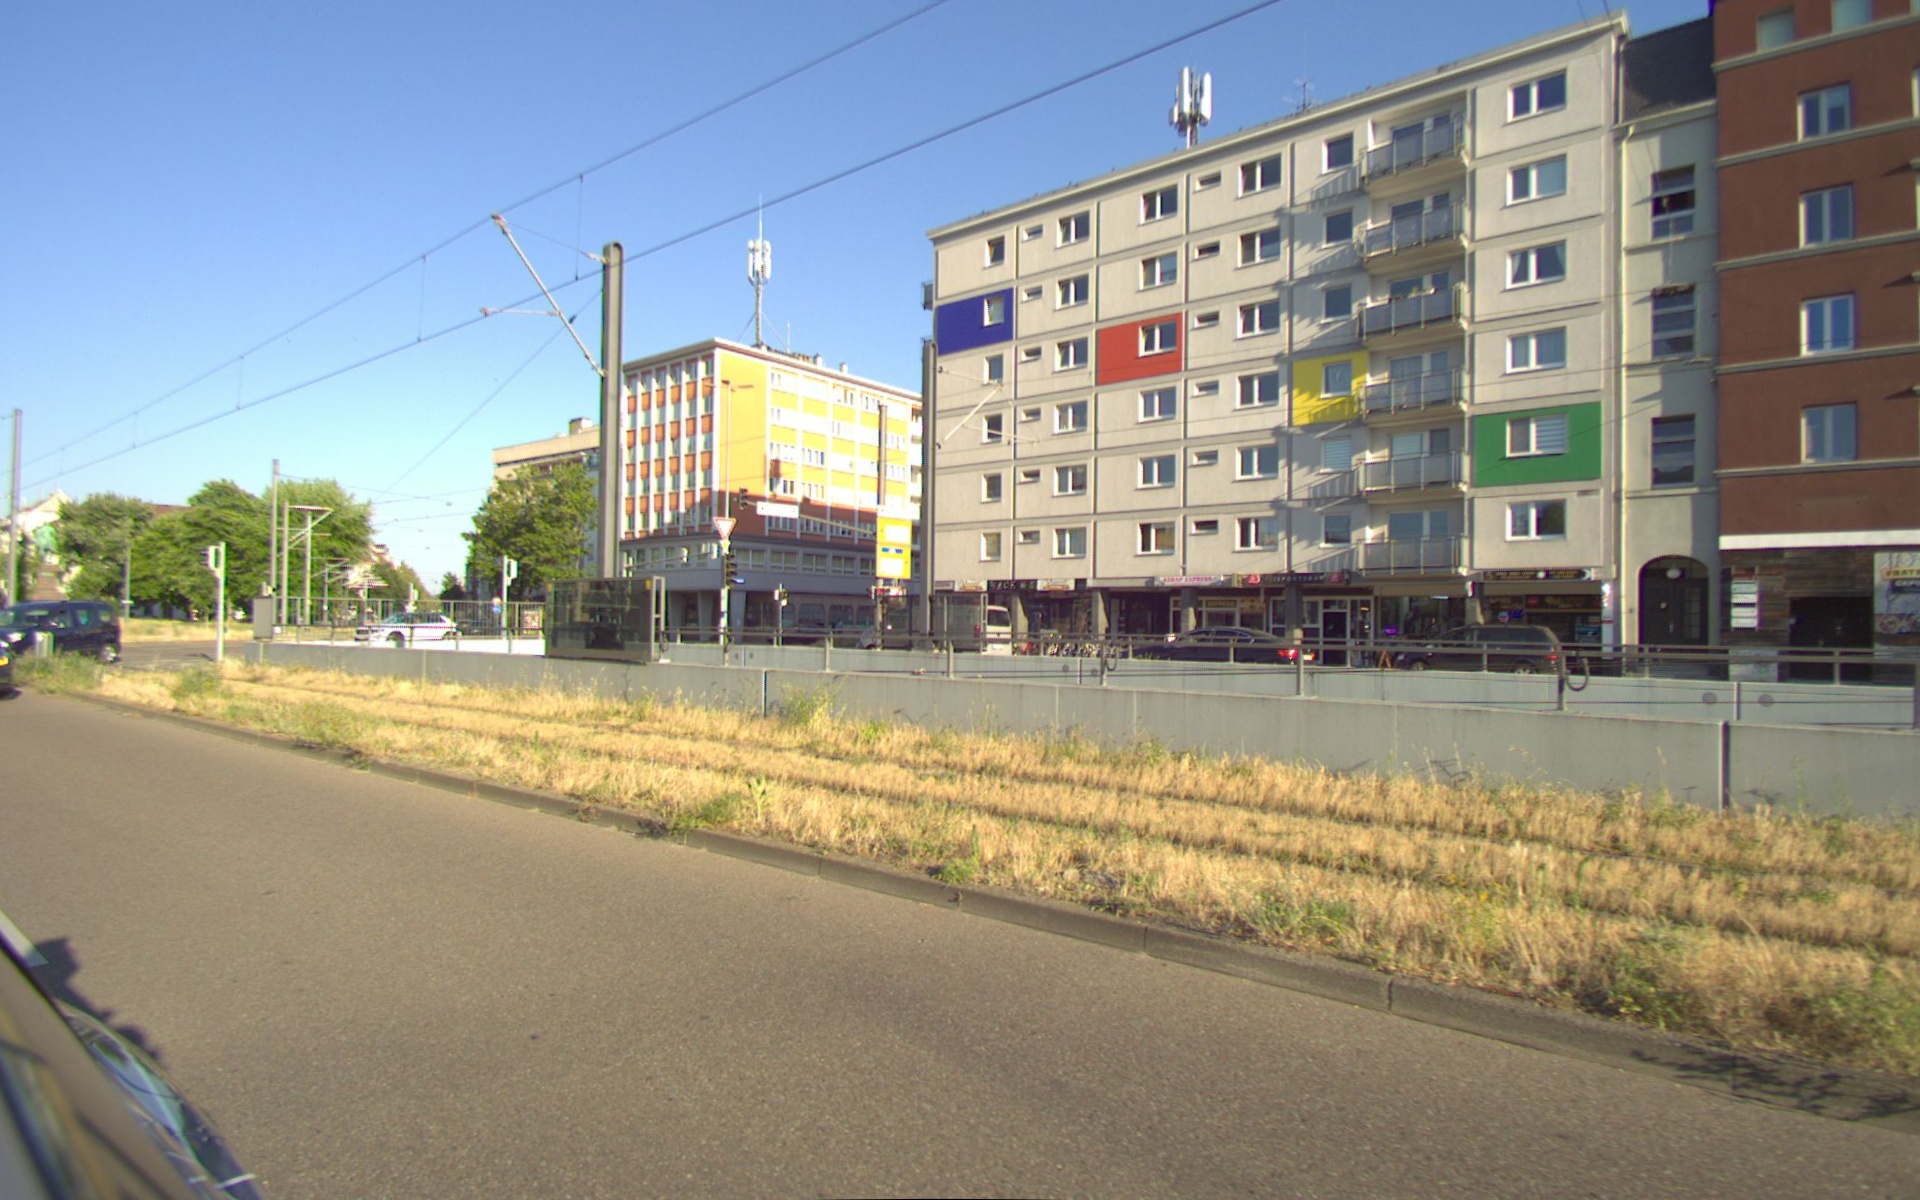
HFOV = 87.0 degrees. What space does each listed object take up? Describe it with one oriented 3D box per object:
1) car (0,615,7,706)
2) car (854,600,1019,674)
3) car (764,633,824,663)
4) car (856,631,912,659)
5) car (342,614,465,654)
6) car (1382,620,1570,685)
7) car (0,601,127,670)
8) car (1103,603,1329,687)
[{"bbox_3d":[-17.249,0.985,17.001,1.744,1.437,4.249,0,-1,-43],"label":"car"},{"bbox_3d":[-0.756,1.063,30.094,4.769,2.029,1.974,0,-2,39],"label":"car"},{"bbox_3d":[-11.371,3.288,69.566,1.740,1.794,3.948,0,1,39],"label":"car"},{"bbox_3d":[-5.433,3.196,72.761,1.740,1.794,3.948,0,1,39],"label":"car"},{"bbox_3d":[-22.870,1.342,41.769,1.824,1.549,4.244,0,-1,24],"label":"car"},{"bbox_3d":[15.520,1.524,30.582,4.739,1.811,1.973,-1,-2,40],"label":"car"},{"bbox_3d":[-25.069,0.935,27.549,1.743,1.745,4.154,0,-1,-8],"label":"car"},{"bbox_3d":[6.028,1.033,24.219,4.892,1.811,1.973,-1,-2,41],"label":"car"}]
